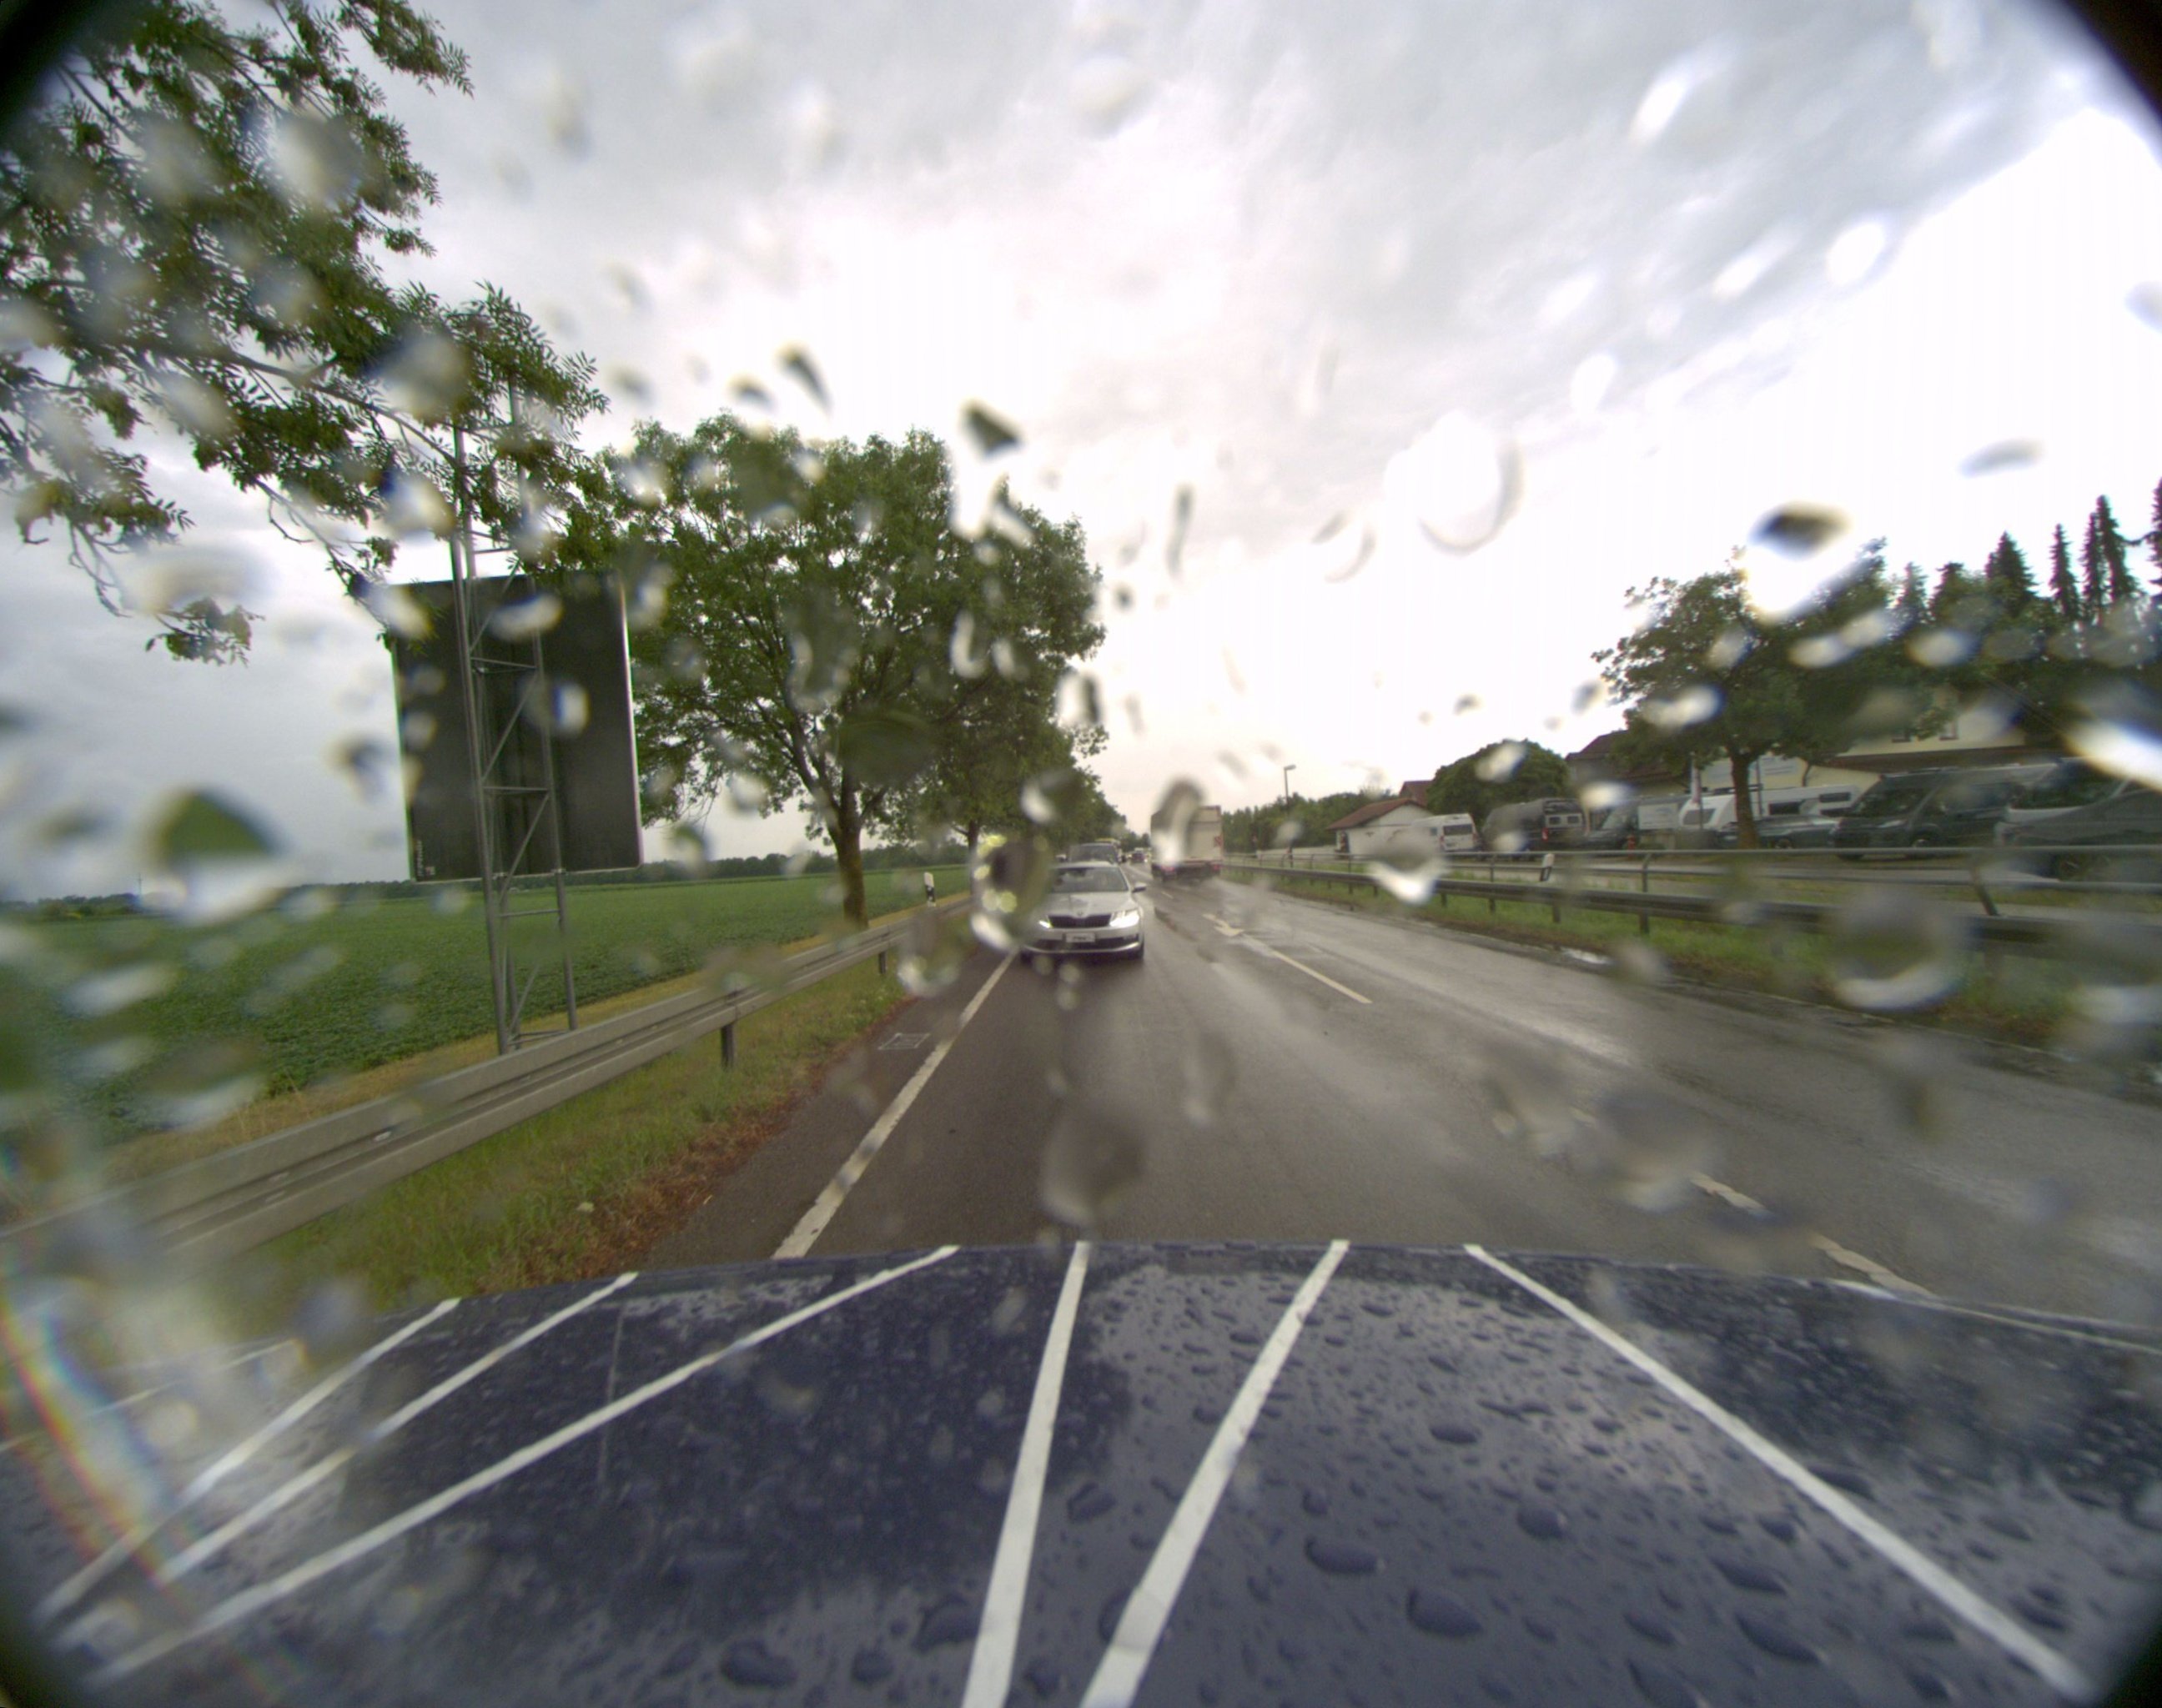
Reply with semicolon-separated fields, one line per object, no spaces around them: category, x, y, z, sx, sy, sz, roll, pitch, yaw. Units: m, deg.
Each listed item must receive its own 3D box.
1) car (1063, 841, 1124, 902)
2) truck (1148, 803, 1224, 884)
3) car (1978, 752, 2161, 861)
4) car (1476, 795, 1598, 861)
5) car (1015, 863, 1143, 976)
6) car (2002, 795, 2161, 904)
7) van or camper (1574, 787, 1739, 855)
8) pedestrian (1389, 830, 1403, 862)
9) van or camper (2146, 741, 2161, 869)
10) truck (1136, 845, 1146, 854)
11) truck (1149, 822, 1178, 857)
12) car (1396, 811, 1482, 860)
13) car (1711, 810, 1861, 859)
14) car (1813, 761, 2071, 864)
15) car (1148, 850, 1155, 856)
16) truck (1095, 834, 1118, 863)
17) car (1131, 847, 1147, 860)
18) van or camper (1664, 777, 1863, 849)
car;0.408;0.557;26.358;1.903;1.884;4.000;-1;0;0
truck;4.944;-0.462;37.447;2.582;3.432;9.556;-2;0;2
car;25.952;-1.219;18.827;5.105;2.445;2.000;-4;0;-2
car;21.528;-1.155;36.237;2.389;2.747;5.573;-4;0;1
car;-0.017;0.919;12.331;1.705;1.438;4.000;-1;0;0
car;15.535;-0.083;9.543;1.519;1.482;5.120;-2;0;-4
van or camper;27.905;-1.554;37.011;6.069;2.785;2.434;-4;0;-1
pedestrian;17.139;-0.414;41.360;0.516;1.701;0.650;-3;1;9
van or camper;25.486;-1.215;15.025;5.890;2.662;2.081;-4;0;-1
truck;17.284;-1.345;219.045;2.800;2.461;7.169;-3;0;4
truck;12.543;-2.167;115.779;3.257;5.004;7.783;-4;0;0
car;21.248;-1.049;45.434;2.243;2.565;6.019;-4;0;1
car;25.376;-0.688;27.435;3.894;1.487;1.540;-4;0;1
car;24.618;-1.139;21.860;5.196;2.487;2.000;-4;0;-2
car;22.118;-0.226;239.335;1.811;1.723;4.027;-4;0;1
truck;3.342;-0.735;100.174;2.751;3.547;8.387;-3;0;2
car;7.372;-0.050;96.765;1.768;1.610;4.000;-2;0;0
van or camper;29.430;-1.733;32.927;6.239;2.576;2.562;-4;0;-1
